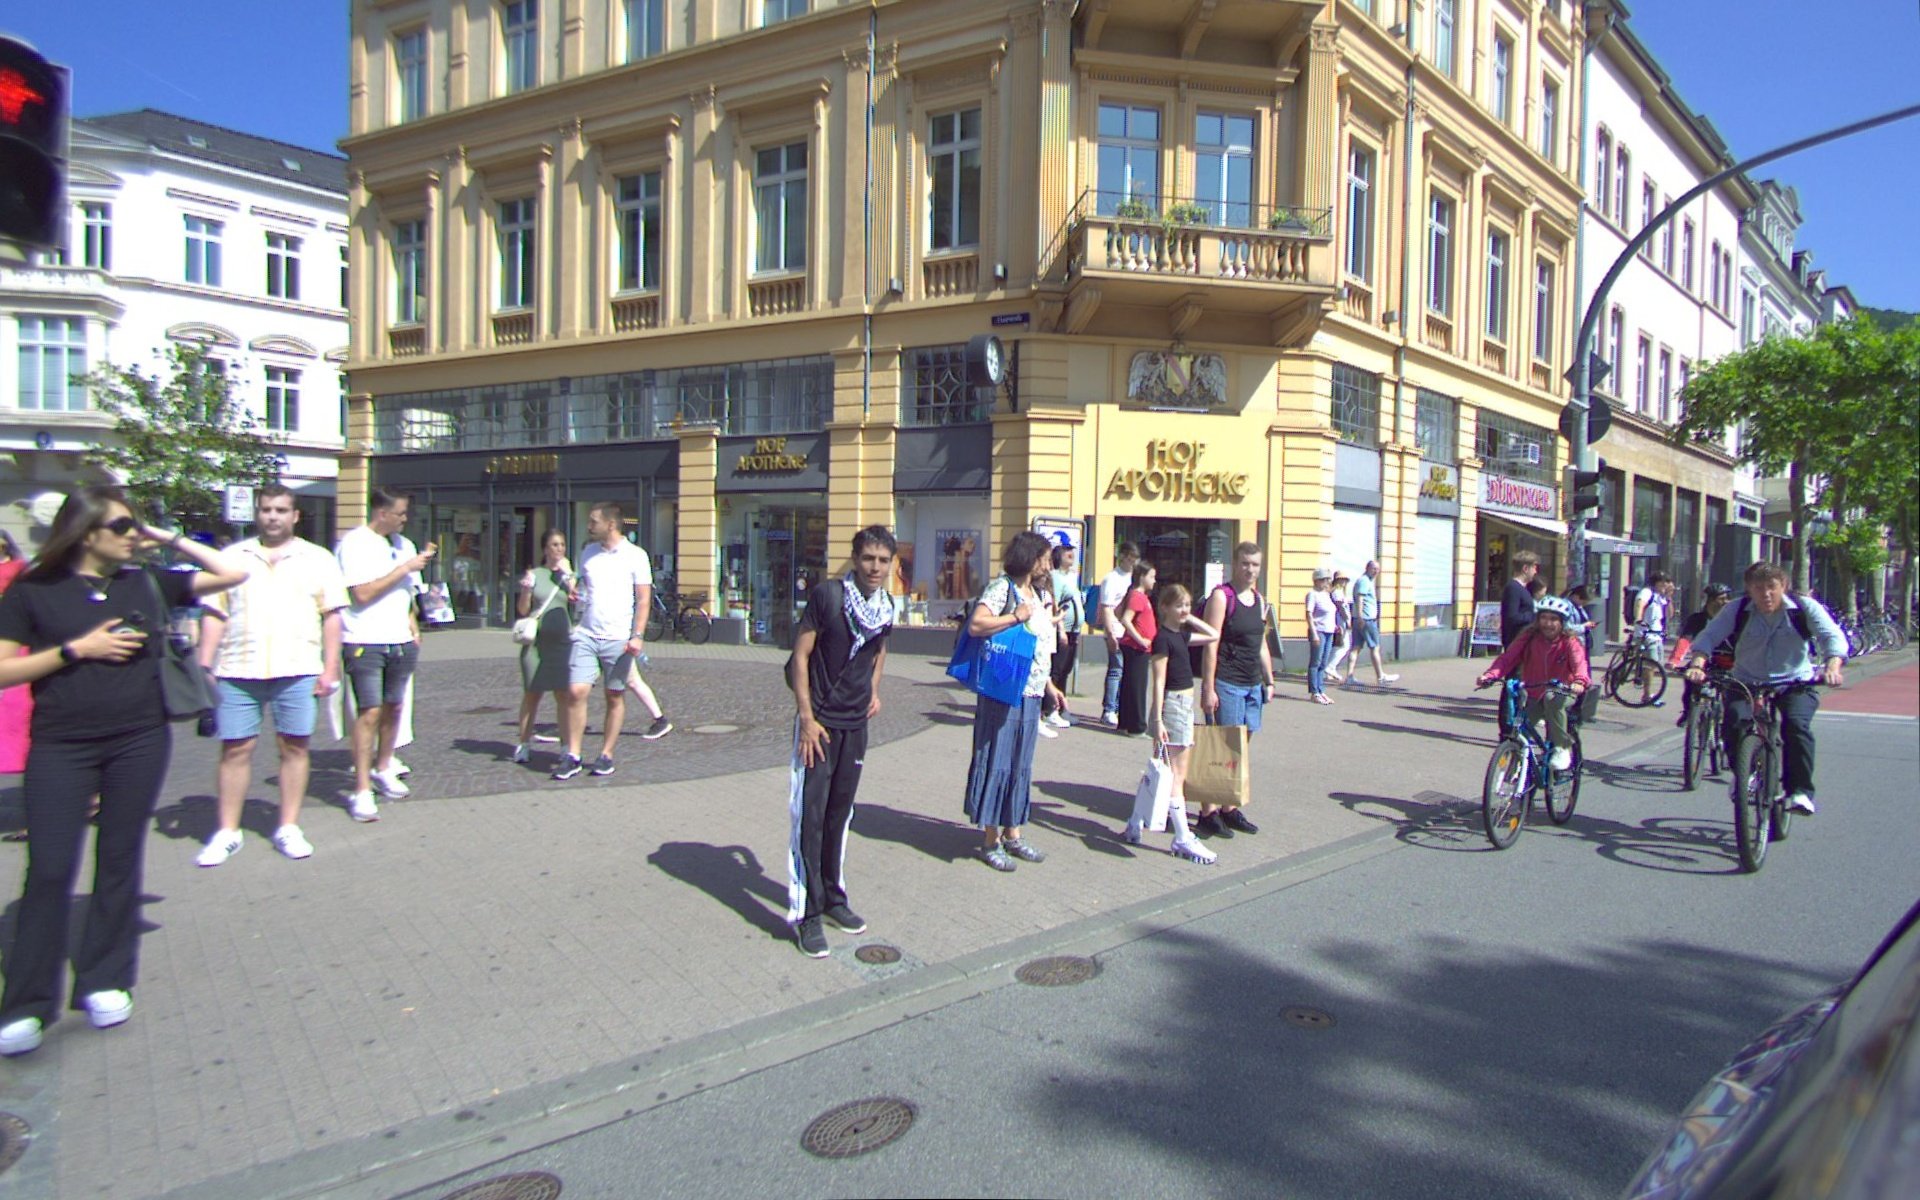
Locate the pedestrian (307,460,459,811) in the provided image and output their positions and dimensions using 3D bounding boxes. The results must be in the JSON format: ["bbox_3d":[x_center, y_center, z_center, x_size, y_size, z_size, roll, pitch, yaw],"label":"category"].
[{"bbox_3d":[-3.365,0.188,5.893,0.612,1.882,0.685,0,-1,-45],"label":"pedestrian"}]

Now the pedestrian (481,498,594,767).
[{"bbox_3d":[-3.118,0.224,7.461,0.611,1.869,0.577,0,-1,-41],"label":"pedestrian"}]

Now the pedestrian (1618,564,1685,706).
[{"bbox_3d":[9.162,0.435,13.417,0.646,1.801,0.614,3,4,35],"label":"pedestrian"}]

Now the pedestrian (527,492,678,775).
[{"bbox_3d":[-2.451,0.218,7.017,0.838,1.869,0.623,-1,0,-3],"label":"pedestrian"}]

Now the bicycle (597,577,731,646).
[{"bbox_3d":[-5.312,0.205,18.145,2.393,1.166,0.775,-1,0,25],"label":"bicycle"}]

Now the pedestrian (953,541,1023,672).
[{"bbox_3d":[0.415,0.071,14.623,0.741,1.827,0.728,1,1,28],"label":"pedestrian"}]

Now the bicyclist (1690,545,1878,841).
[{"bbox_3d":[4.890,0.499,6.008,0.765,1.597,0.749,0,0,-43],"label":"bicyclist"}]

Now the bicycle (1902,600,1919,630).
[{"bbox_3d":[38.170,0.614,39.693,0.583,1.161,1.754,0,1,-43],"label":"bicycle"}]

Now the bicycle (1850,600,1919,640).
[{"bbox_3d":[28.527,0.613,31.069,0.583,1.161,1.754,0,1,-43],"label":"bicycle"}]

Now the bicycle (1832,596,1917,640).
[{"bbox_3d":[25.959,0.491,28.745,0.583,1.161,1.754,0,1,-43],"label":"bicycle"}]

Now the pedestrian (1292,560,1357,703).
[{"bbox_3d":[4.445,0.367,12.334,0.575,1.680,0.614,2,1,37],"label":"pedestrian"}]

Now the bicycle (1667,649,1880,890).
[{"bbox_3d":[4.880,0.899,6.020,1.866,1.106,0.734,-1,0,-43],"label":"bicycle"}]

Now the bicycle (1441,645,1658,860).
[{"bbox_3d":[3.811,0.881,6.482,1.789,1.107,0.735,0,0,-43],"label":"bicycle"}]

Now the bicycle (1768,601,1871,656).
[{"bbox_3d":[19.692,0.632,23.213,0.583,1.161,1.754,0,1,-43],"label":"bicycle"}]

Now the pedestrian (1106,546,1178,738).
[{"bbox_3d":[1.679,0.366,9.350,0.470,1.710,0.443,0,1,-41],"label":"pedestrian"}]

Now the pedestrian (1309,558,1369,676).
[{"bbox_3d":[5.623,0.243,15.049,0.567,1.705,0.689,1,1,-4],"label":"pedestrian"}]

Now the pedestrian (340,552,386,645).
[{"bbox_3d":[-10.575,-0.022,17.932,0.611,1.609,0.577,0,0,-41],"label":"pedestrian"}]

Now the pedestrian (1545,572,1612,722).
[{"bbox_3d":[6.979,0.507,11.419,0.528,1.615,0.581,4,3,37],"label":"pedestrian"}]

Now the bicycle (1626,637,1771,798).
[{"bbox_3d":[6.129,0.897,8.357,1.867,1.106,0.666,-1,0,-45],"label":"bicycle"}]

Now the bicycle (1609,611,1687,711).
[{"bbox_3d":[9.133,0.760,13.443,0.732,1.106,1.874,5,4,34],"label":"bicycle"}]

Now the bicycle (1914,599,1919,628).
[{"bbox_3d":[40.176,0.576,41.313,0.583,1.161,1.754,0,1,-43],"label":"bicycle"}]

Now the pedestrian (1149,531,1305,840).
[{"bbox_3d":[1.645,0.486,6.223,0.576,1.751,0.708,4,1,41],"label":"pedestrian"}]

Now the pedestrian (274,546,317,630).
[{"bbox_3d":[-13.867,-0.244,21.123,0.571,1.724,0.519,-1,0,18],"label":"pedestrian"}]

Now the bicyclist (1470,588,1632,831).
[{"bbox_3d":[3.749,0.636,6.416,0.765,1.414,0.689,0,0,-43],"label":"bicyclist"}]

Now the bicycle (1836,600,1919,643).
[{"bbox_3d":[26.569,0.607,29.321,0.583,1.161,1.754,0,1,-43],"label":"bicycle"}]

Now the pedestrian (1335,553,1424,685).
[{"bbox_3d":[5.943,0.251,14.356,0.842,1.815,0.759,1,1,-22],"label":"pedestrian"}]

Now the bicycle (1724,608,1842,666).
[{"bbox_3d":[16.402,0.719,20.205,0.583,1.048,1.754,0,1,-43],"label":"bicycle"}]

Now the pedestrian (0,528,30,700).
[{"bbox_3d":[-9.657,0.136,10.030,0.611,1.668,0.797,0,0,-41],"label":"pedestrian"}]

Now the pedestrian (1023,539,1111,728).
[{"bbox_3d":[1.032,0.300,9.771,0.611,1.747,0.577,0,1,-41],"label":"pedestrian"}]

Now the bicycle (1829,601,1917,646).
[{"bbox_3d":[25.200,0.622,27.951,0.583,1.161,1.754,0,1,-43],"label":"bicycle"}]

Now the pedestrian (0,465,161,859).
[{"bbox_3d":[-4.558,0.289,5.068,0.611,1.840,0.632,-1,0,5],"label":"pedestrian"}]

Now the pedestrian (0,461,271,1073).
[{"bbox_3d":[-2.648,0.450,3.216,0.658,1.705,0.577,0,3,-45],"label":"pedestrian"}]

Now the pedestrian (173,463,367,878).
[{"bbox_3d":[-3.344,0.308,4.911,0.686,1.825,0.577,0,-1,-45],"label":"pedestrian"}]

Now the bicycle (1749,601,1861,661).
[{"bbox_3d":[17.894,0.632,21.450,0.583,1.161,1.754,0,1,-43],"label":"bicycle"}]

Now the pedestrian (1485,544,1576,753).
[{"bbox_3d":[5.462,0.436,9.684,0.575,1.897,0.671,5,3,37],"label":"pedestrian"}]

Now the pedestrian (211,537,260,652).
[{"bbox_3d":[-12.042,-0.086,16.825,0.611,1.869,0.577,0,-1,-41],"label":"pedestrian"}]

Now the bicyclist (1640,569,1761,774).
[{"bbox_3d":[6.150,0.555,8.406,0.765,1.597,0.688,0,0,-45],"label":"bicyclist"}]

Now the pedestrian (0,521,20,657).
[{"bbox_3d":[-13.415,-0.149,13.977,0.611,1.869,0.577,0,-1,-41],"label":"pedestrian"}]

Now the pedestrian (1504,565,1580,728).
[{"bbox_3d":[6.416,0.486,11.153,0.575,1.705,0.668,3,2,37],"label":"pedestrian"}]

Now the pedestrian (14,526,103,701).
[{"bbox_3d":[-9.553,0.134,10.737,0.687,1.777,0.577,0,0,-41],"label":"pedestrian"}]

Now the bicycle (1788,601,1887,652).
[{"bbox_3d":[21.344,0.620,24.640,0.583,1.161,1.754,0,1,-43],"label":"bicycle"}]

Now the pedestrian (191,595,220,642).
[{"bbox_3d":[-14.617,0.356,19.605,0.378,0.889,0.280,-1,0,18],"label":"pedestrian"}]

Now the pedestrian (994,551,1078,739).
[{"bbox_3d":[0.679,0.376,9.110,0.525,1.623,0.513,0,2,-41],"label":"pedestrian"}]

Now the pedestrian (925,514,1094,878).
[{"bbox_3d":[0.272,0.454,5.349,0.599,1.756,0.643,4,3,26],"label":"pedestrian"}]

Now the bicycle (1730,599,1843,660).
[{"bbox_3d":[17.135,0.592,21.009,0.583,1.161,1.754,0,1,-43],"label":"bicycle"}]

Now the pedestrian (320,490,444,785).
[{"bbox_3d":[-3.933,0.234,6.876,0.611,1.869,0.664,0,0,-41],"label":"pedestrian"}]

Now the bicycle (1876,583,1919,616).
[{"bbox_3d":[33.550,-0.017,35.708,0.583,1.161,1.754,0,1,-43],"label":"bicycle"}]

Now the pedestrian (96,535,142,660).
[{"bbox_3d":[-12.897,-0.042,15.511,0.527,1.869,0.692,0,-1,-41],"label":"pedestrian"}]

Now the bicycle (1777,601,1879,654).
[{"bbox_3d":[20.274,0.622,23.657,0.583,1.161,1.754,0,1,-43],"label":"bicycle"}]

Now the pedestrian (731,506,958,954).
[{"bbox_3d":[-0.475,0.489,4.332,0.573,1.705,0.721,5,2,25],"label":"pedestrian"}]

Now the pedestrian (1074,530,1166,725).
[{"bbox_3d":[1.571,0.249,9.974,0.594,1.837,0.578,0,4,-41],"label":"pedestrian"}]

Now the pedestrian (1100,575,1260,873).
[{"bbox_3d":[1.224,0.625,5.612,0.668,1.515,0.630,1,1,34],"label":"pedestrian"}]

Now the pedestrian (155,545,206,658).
[{"bbox_3d":[-12.509,0.026,16.243,0.611,1.762,0.577,0,-1,-41],"label":"pedestrian"}]

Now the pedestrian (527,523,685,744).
[{"bbox_3d":[-3.050,0.262,8.733,1.163,1.780,0.622,0,0,-34],"label":"pedestrian"}]
